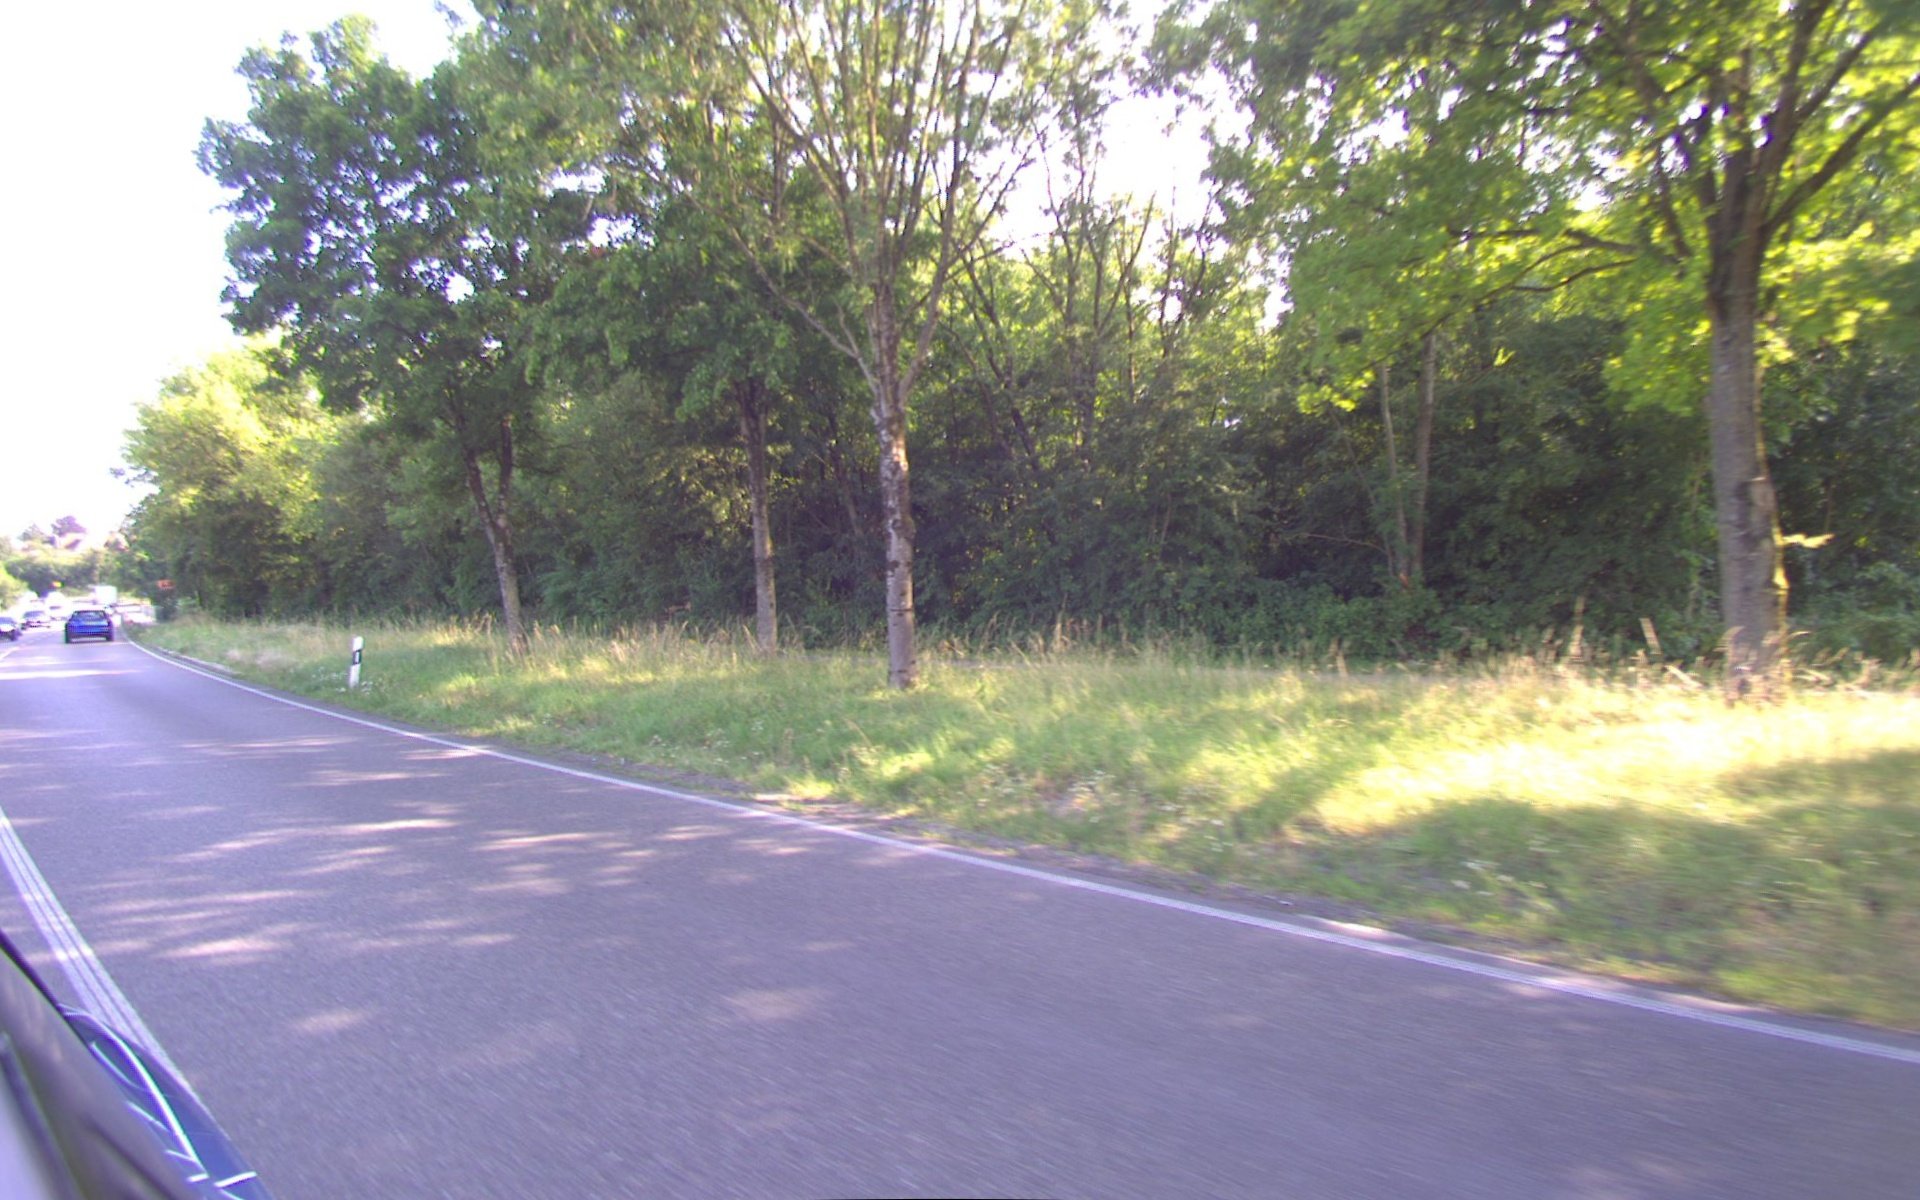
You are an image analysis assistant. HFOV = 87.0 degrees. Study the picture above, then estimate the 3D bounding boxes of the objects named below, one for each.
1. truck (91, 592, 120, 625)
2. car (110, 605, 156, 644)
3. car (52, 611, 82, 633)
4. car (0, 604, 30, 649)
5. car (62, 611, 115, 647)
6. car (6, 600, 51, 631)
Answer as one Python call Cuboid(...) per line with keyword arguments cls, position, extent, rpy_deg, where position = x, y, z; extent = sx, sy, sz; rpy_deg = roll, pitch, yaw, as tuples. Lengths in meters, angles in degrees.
Cuboid(cls="truck", position=(-140.873, 1.473, 166.935), extent=(3.577, 5.210, 10.478), rpy_deg=(-1, 0, -40))
Cuboid(cls="car", position=(-54.407, 1.557, 66.523), extent=(2.058, 2.435, 5.148), rpy_deg=(-1, 0, -42))
Cuboid(cls="car", position=(-105.722, 2.610, 119.848), extent=(2.055, 2.435, 5.154), rpy_deg=(-1, 0, -36))
Cuboid(cls="car", position=(-54.364, 1.468, 57.342), extent=(5.142, 2.435, 2.060), rpy_deg=(-1, 0, 43))
Cuboid(cls="car", position=(-42.447, 1.375, 49.282), extent=(1.874, 1.644, 4.256), rpy_deg=(-1, 0, -42))
Cuboid(cls="car", position=(-76.443, 1.221, 83.088), extent=(2.055, 2.435, 5.154), rpy_deg=(-1, 0, -36))
